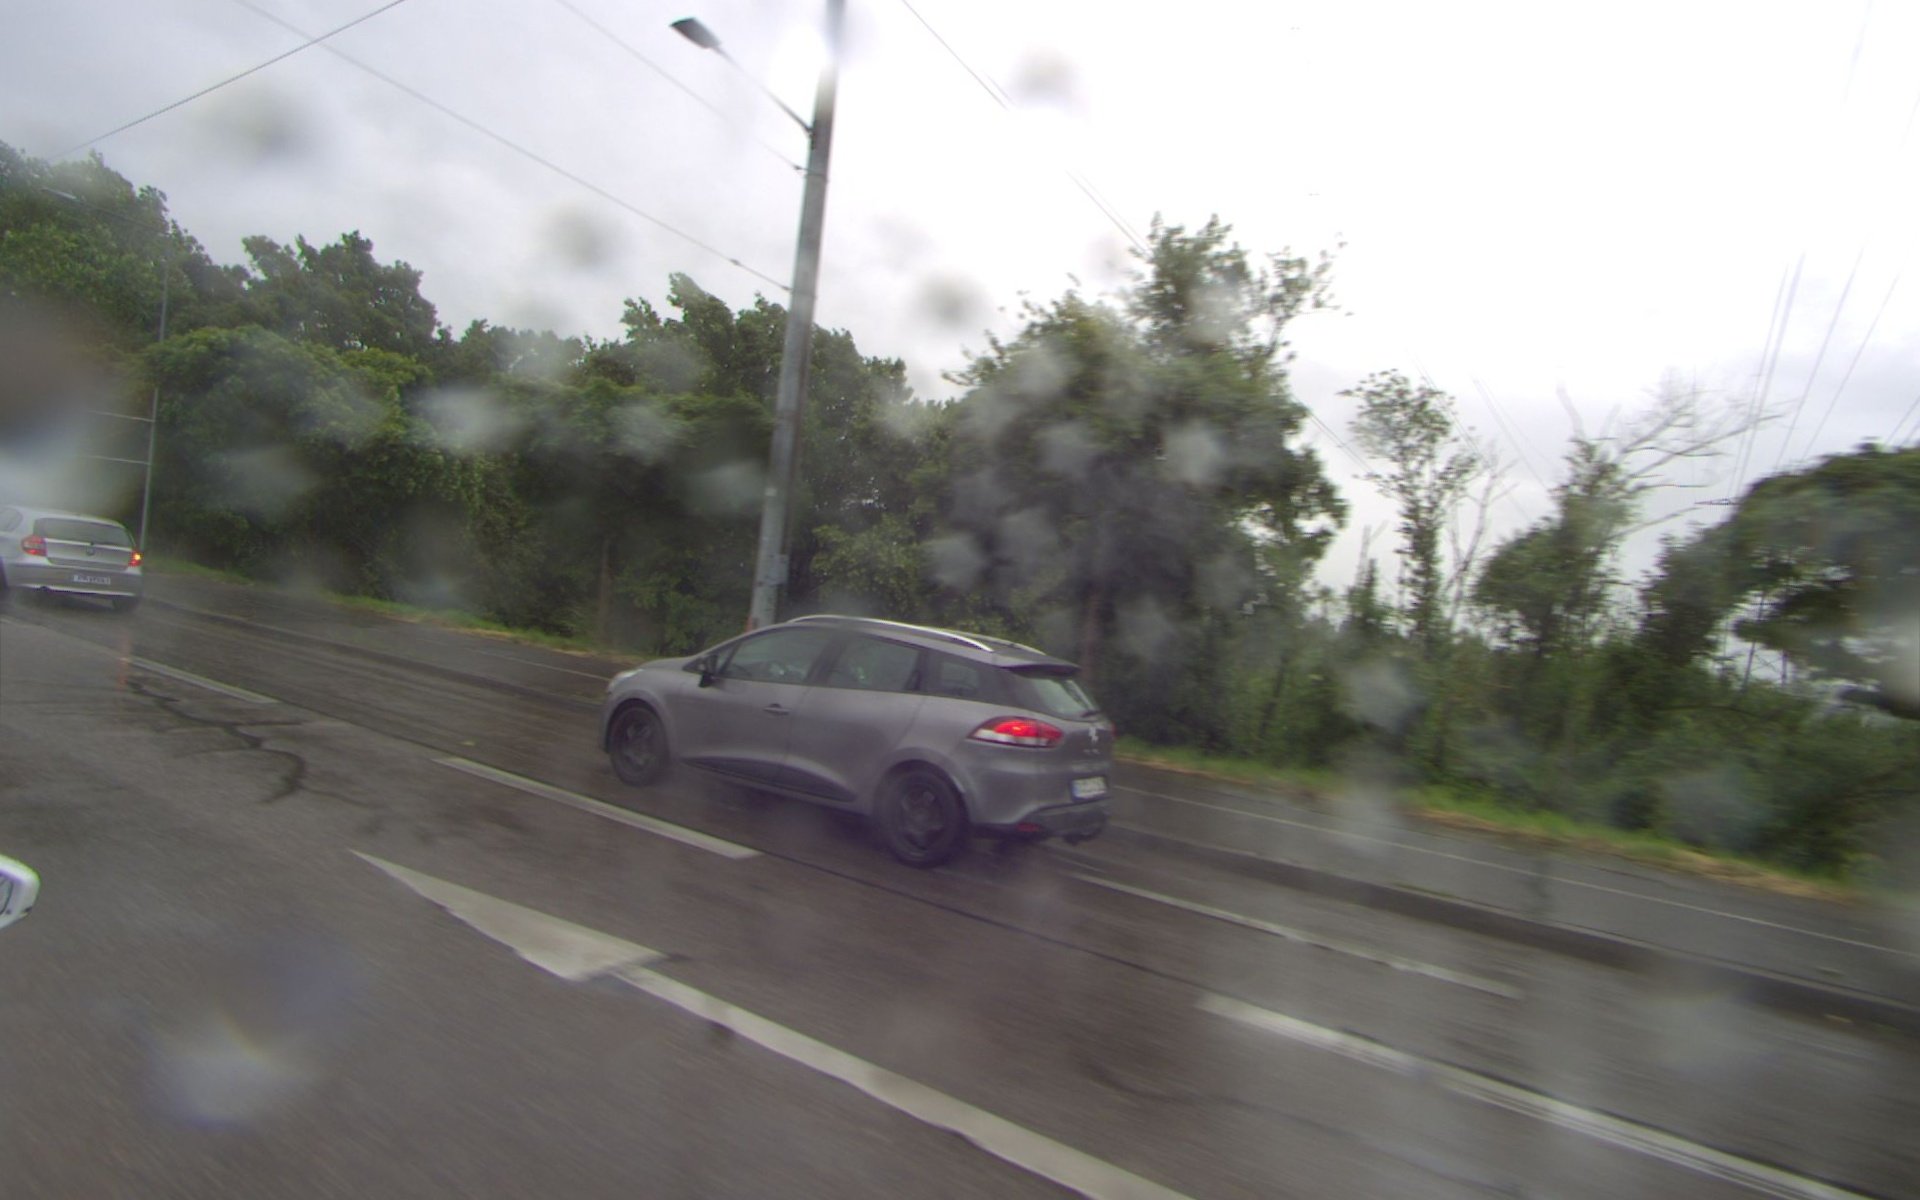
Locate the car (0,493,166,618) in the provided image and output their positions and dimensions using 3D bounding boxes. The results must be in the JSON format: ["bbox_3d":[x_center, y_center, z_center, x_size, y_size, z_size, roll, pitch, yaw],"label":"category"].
[{"bbox_3d":[-14.458,-0.819,15.694,4.528,1.520,1.630,8,-1,31],"label":"car"}]

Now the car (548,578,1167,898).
[{"bbox_3d":[-0.869,0.839,7.501,4.207,1.372,1.891,8,-2,33],"label":"car"}]
